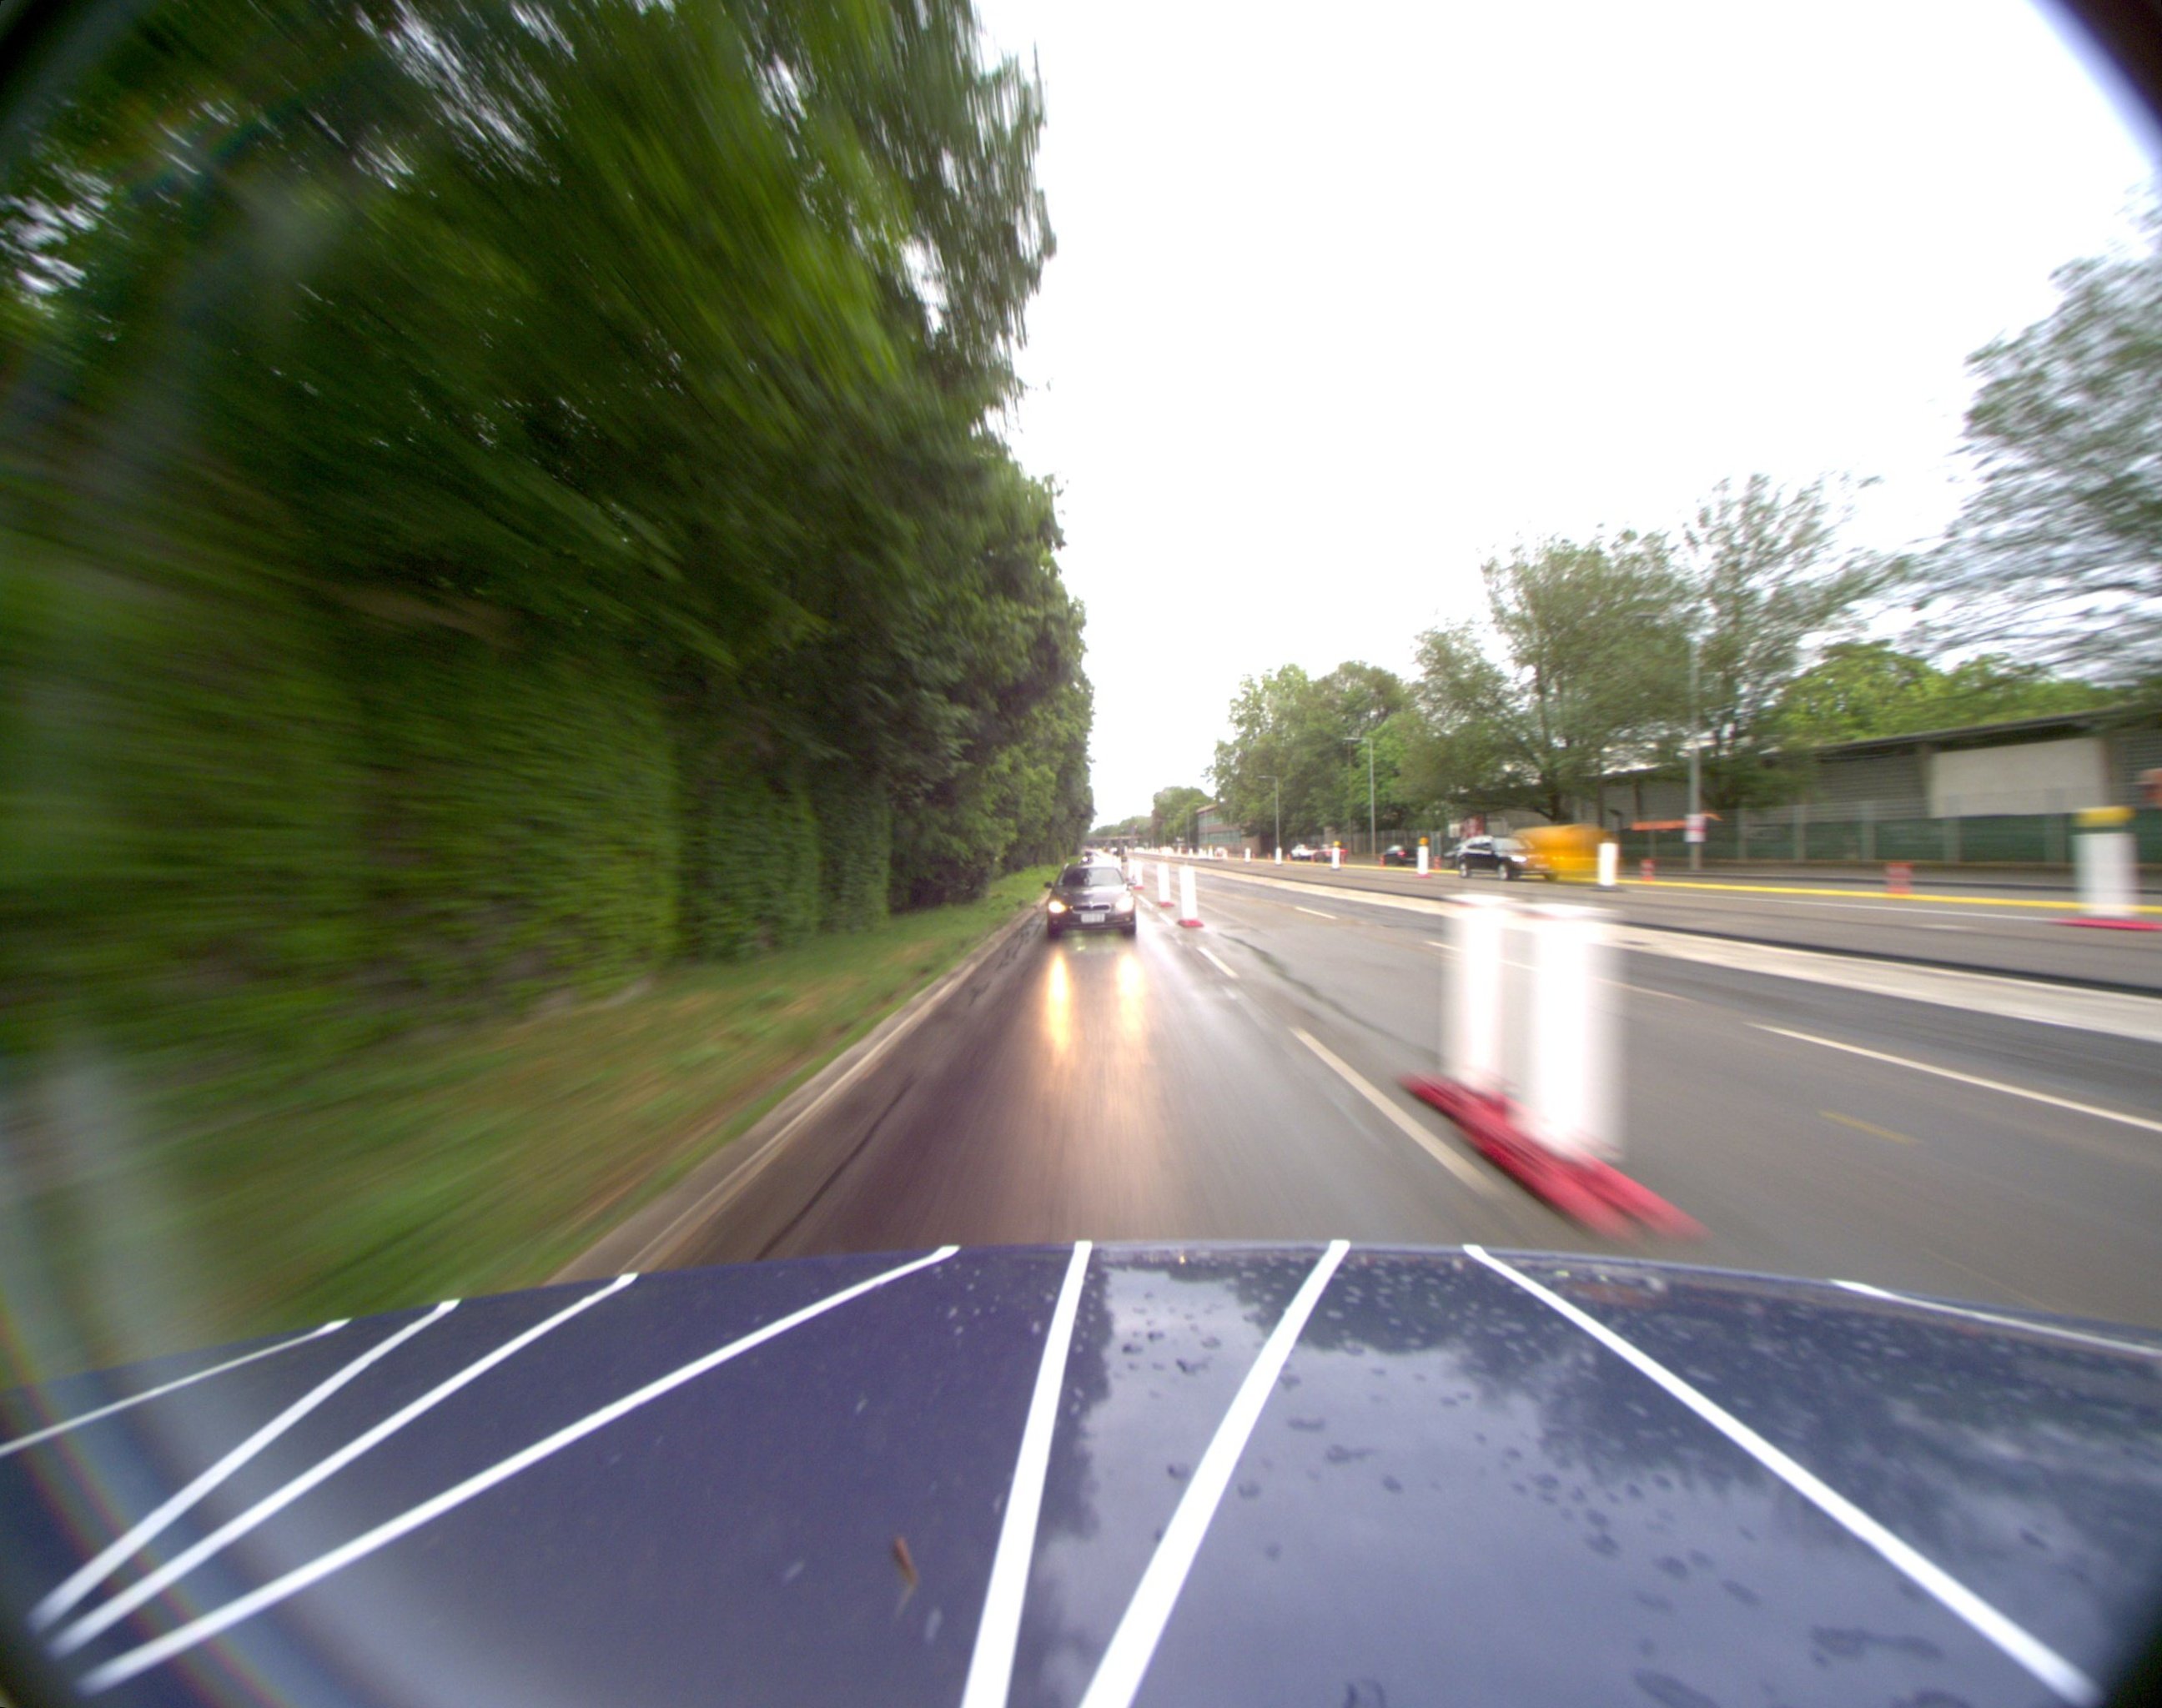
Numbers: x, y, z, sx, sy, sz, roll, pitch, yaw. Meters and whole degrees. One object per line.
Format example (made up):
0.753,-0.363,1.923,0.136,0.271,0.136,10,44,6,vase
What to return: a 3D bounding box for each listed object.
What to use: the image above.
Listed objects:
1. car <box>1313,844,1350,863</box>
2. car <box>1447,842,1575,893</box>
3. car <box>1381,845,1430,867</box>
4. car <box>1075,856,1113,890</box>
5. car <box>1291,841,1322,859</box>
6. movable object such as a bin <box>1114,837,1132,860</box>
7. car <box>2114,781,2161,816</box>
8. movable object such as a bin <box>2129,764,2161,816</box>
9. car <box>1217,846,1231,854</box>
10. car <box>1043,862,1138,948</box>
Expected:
21.705,-0.054,66.007,1.863,1.610,4.365,0,1,1,car
15.668,0.471,28.045,1.998,1.696,4.984,1,0,2,car
22.247,0.098,52.227,1.863,1.467,3.732,0,1,1,car
0.670,0.923,38.566,1.742,1.454,4.458,-2,1,1,car
22.538,-0.397,76.099,1.863,1.696,4.365,0,1,1,car
5.943,-0.796,108.313,1.999,3.084,5.622,-2,1,-2,movable object such as a bin
35.563,-1.810,23.508,4.012,1.056,1.757,-1,1,44,car
34.000,-1.978,22.009,4.012,1.519,1.757,-1,1,44,movable object such as a bin
23.687,-0.719,125.974,1.671,1.308,4.455,0,1,2,car
0.222,0.986,16.625,1.742,1.454,4.458,-2,1,1,car
